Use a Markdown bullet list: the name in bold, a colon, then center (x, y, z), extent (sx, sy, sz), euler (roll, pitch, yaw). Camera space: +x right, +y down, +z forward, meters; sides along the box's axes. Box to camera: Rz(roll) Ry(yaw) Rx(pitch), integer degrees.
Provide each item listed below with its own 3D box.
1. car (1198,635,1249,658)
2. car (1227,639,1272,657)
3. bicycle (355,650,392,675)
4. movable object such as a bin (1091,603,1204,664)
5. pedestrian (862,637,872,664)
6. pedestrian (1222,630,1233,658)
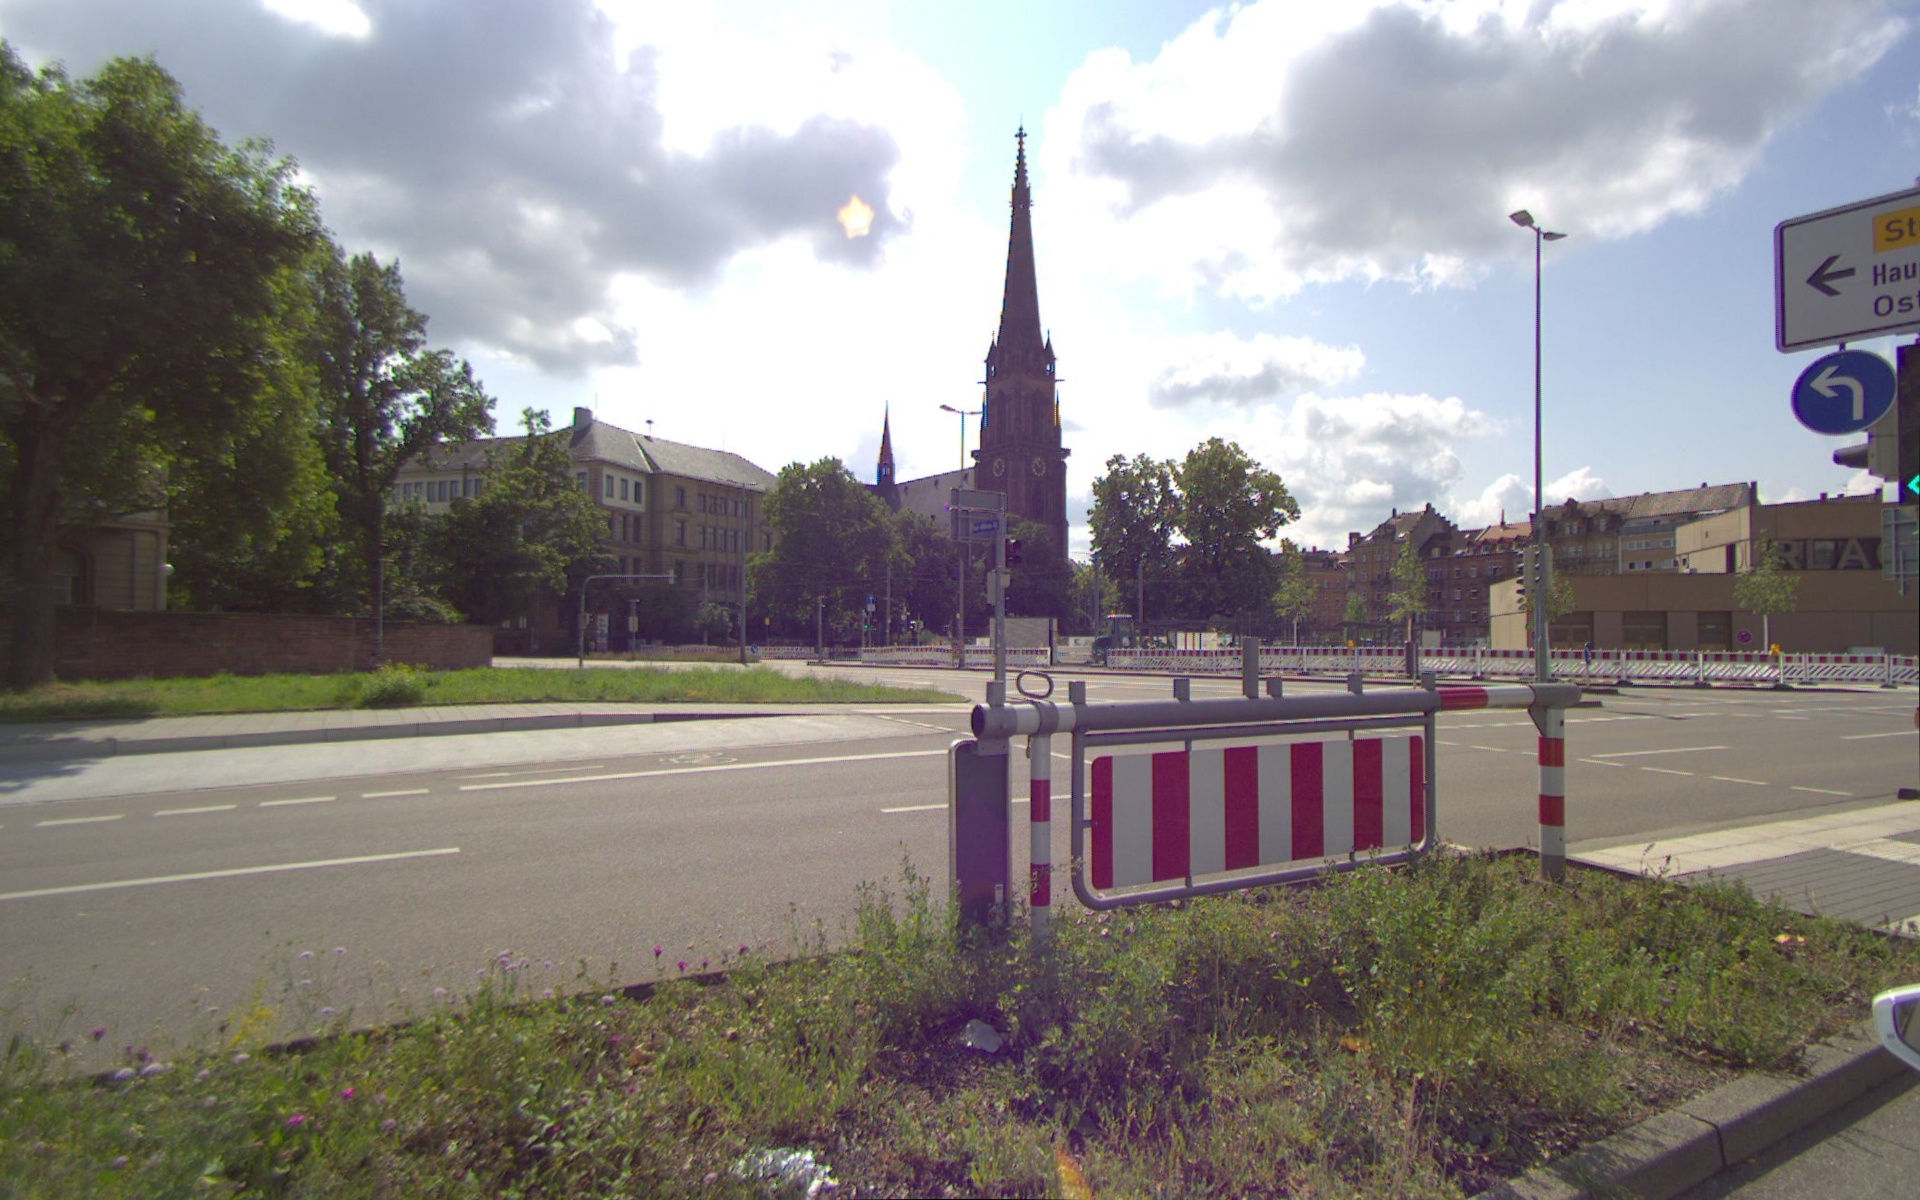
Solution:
- **car**: center (22.280, 3.924, 84.827), extent (4.097, 1.906, 1.803), euler (0, -2, 19)
- **car**: center (30.923, 5.106, 107.332), extent (4.292, 1.817, 1.781), euler (-1, -2, 28)
- **bicycle**: center (-23.613, 2.506, 40.458), extent (0.386, 1.005, 1.524), euler (0, -2, 9)
- **movable object such as a bin**: center (9.370, 1.671, 50.333), extent (5.430, 2.922, 2.290), euler (0, -2, 11)
- **pedestrian**: center (-6.349, 3.466, 68.701), extent (0.493, 1.874, 0.526), euler (1, -2, -26)
- **pedestrian**: center (19.633, 3.215, 73.676), extent (0.748, 2.040, 0.750), euler (0, -2, 17)
